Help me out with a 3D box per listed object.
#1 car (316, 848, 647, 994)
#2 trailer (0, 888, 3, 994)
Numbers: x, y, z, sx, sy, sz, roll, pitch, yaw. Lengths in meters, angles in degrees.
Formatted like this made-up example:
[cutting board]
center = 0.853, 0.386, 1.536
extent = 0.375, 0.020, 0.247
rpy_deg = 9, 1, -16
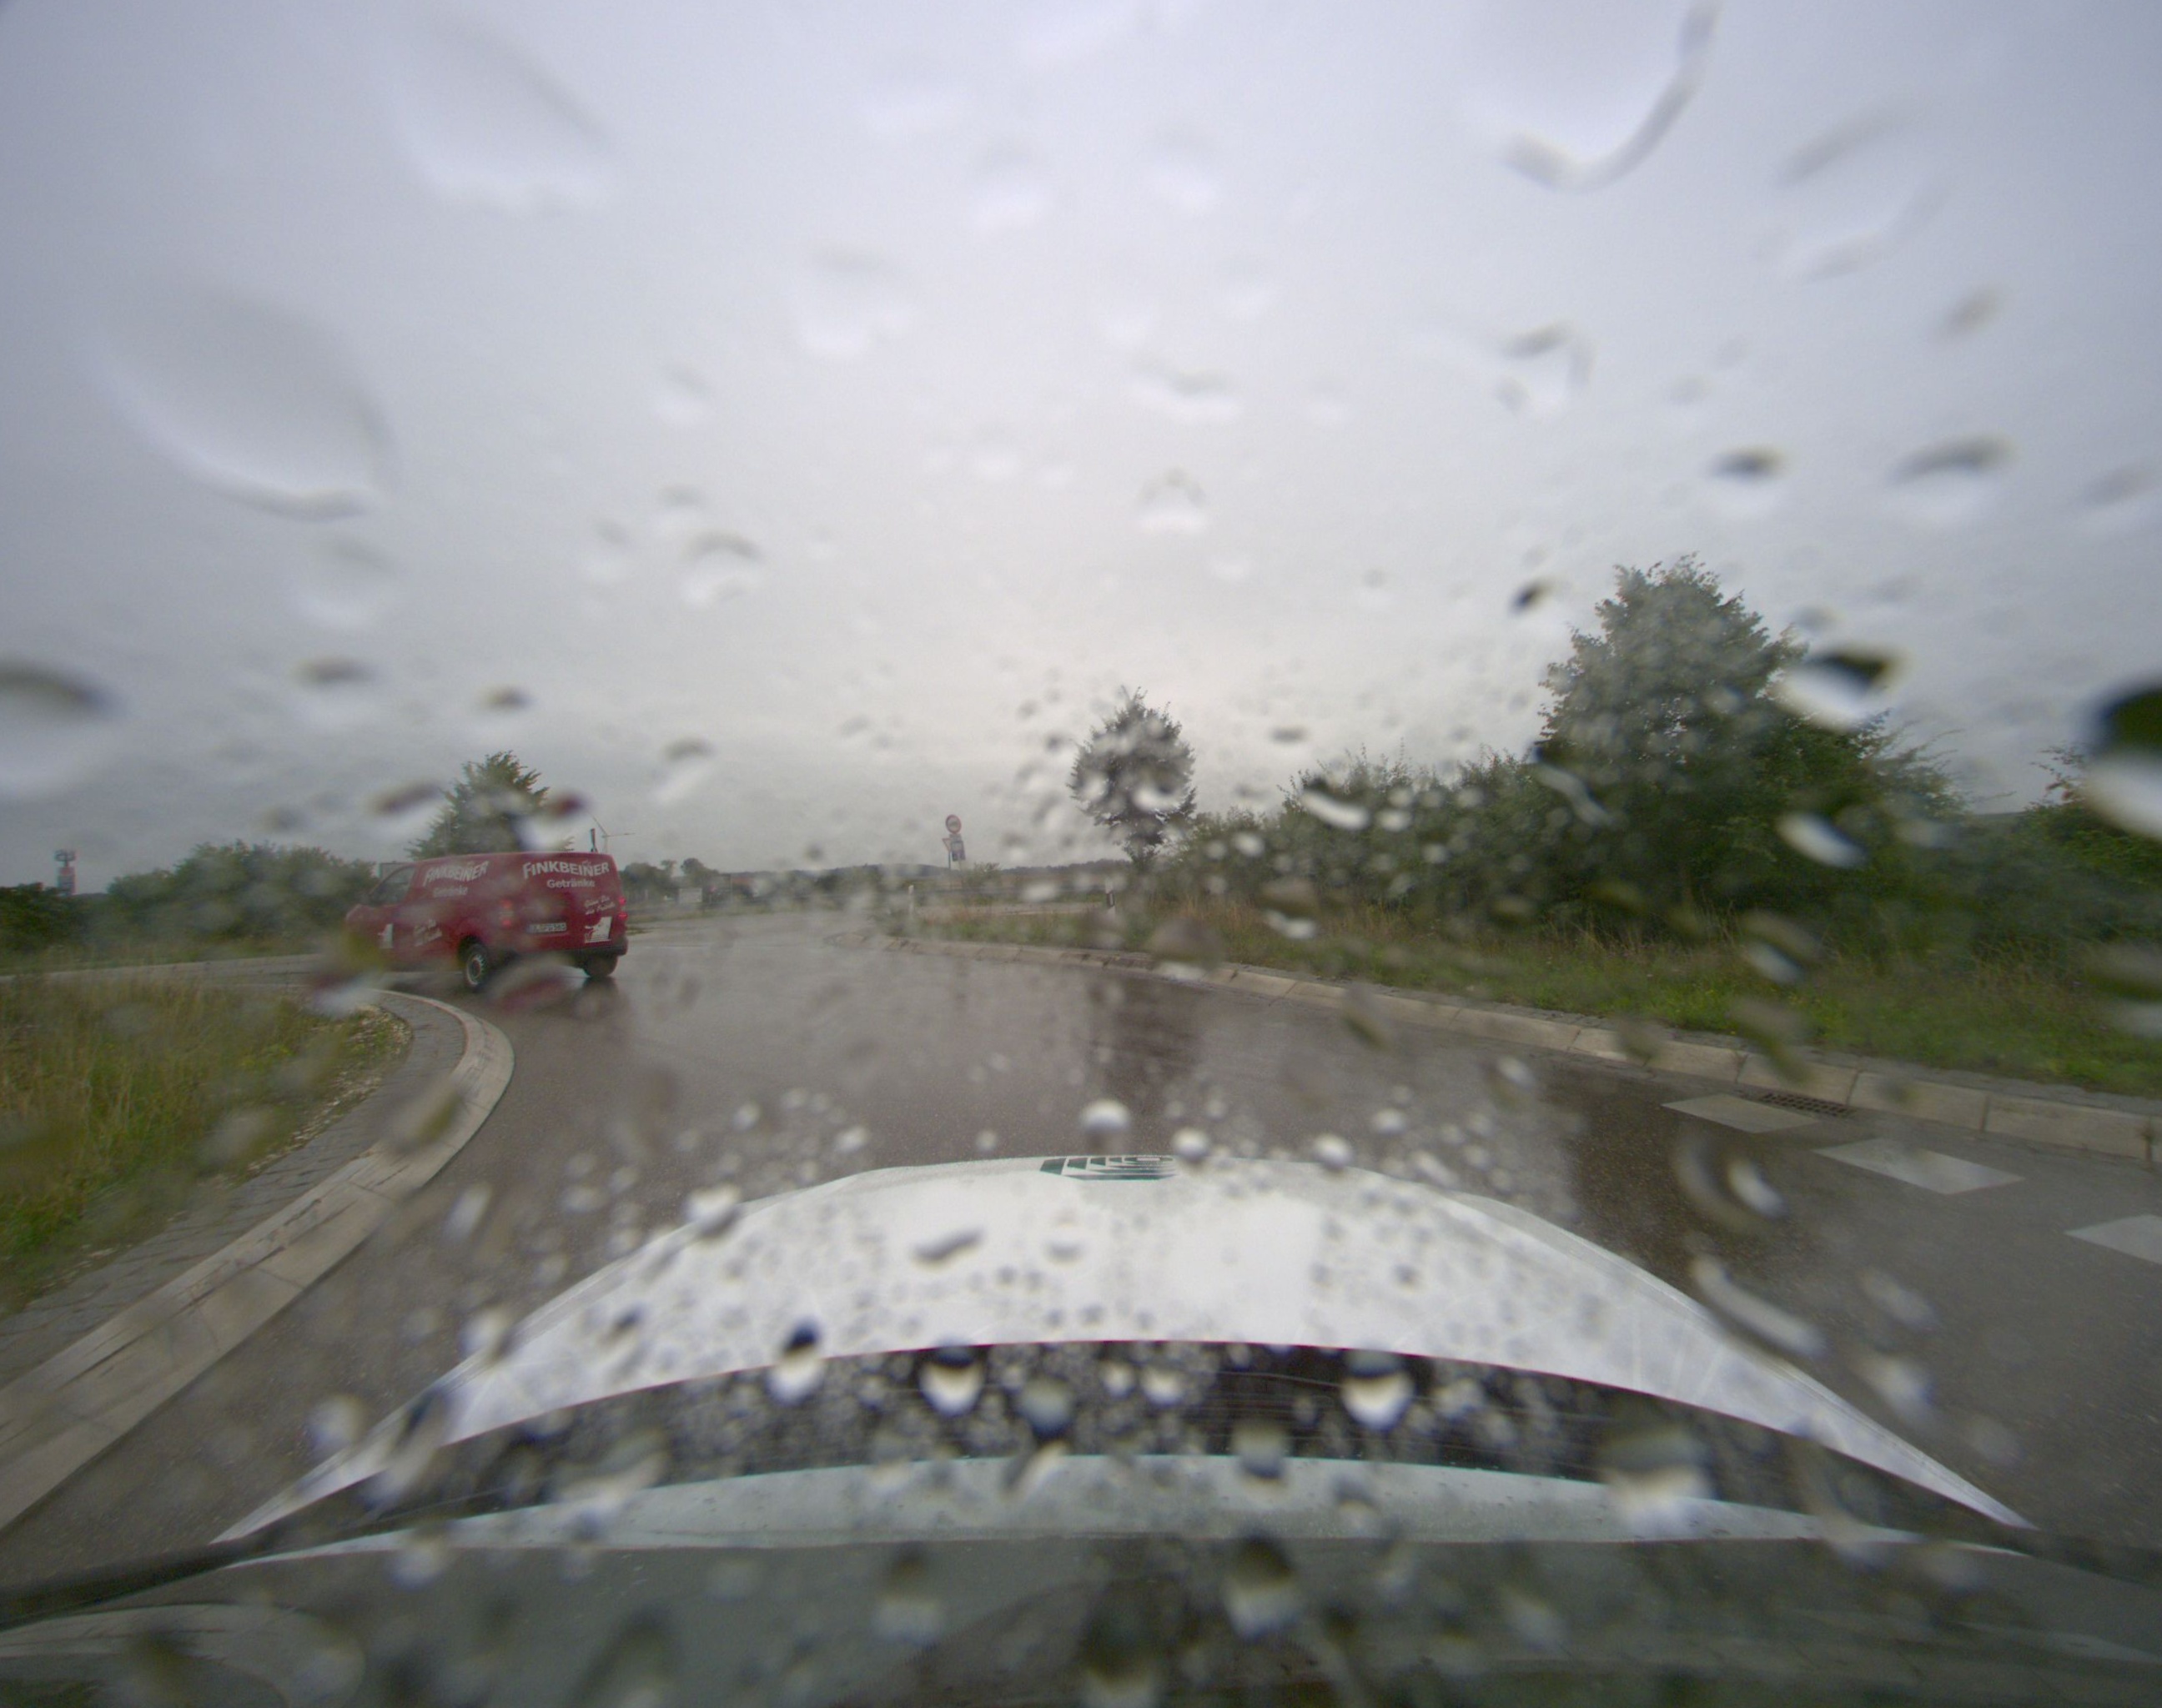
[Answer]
[car]
center = -9.294, 0.946, 12.576
extent = 4.916, 1.870, 2.012
rpy_deg = -2, 0, 26
[trailer]
center = -24.247, 0.852, 12.381
extent = 9.698, 3.819, 2.827
rpy_deg = -3, -1, -15
